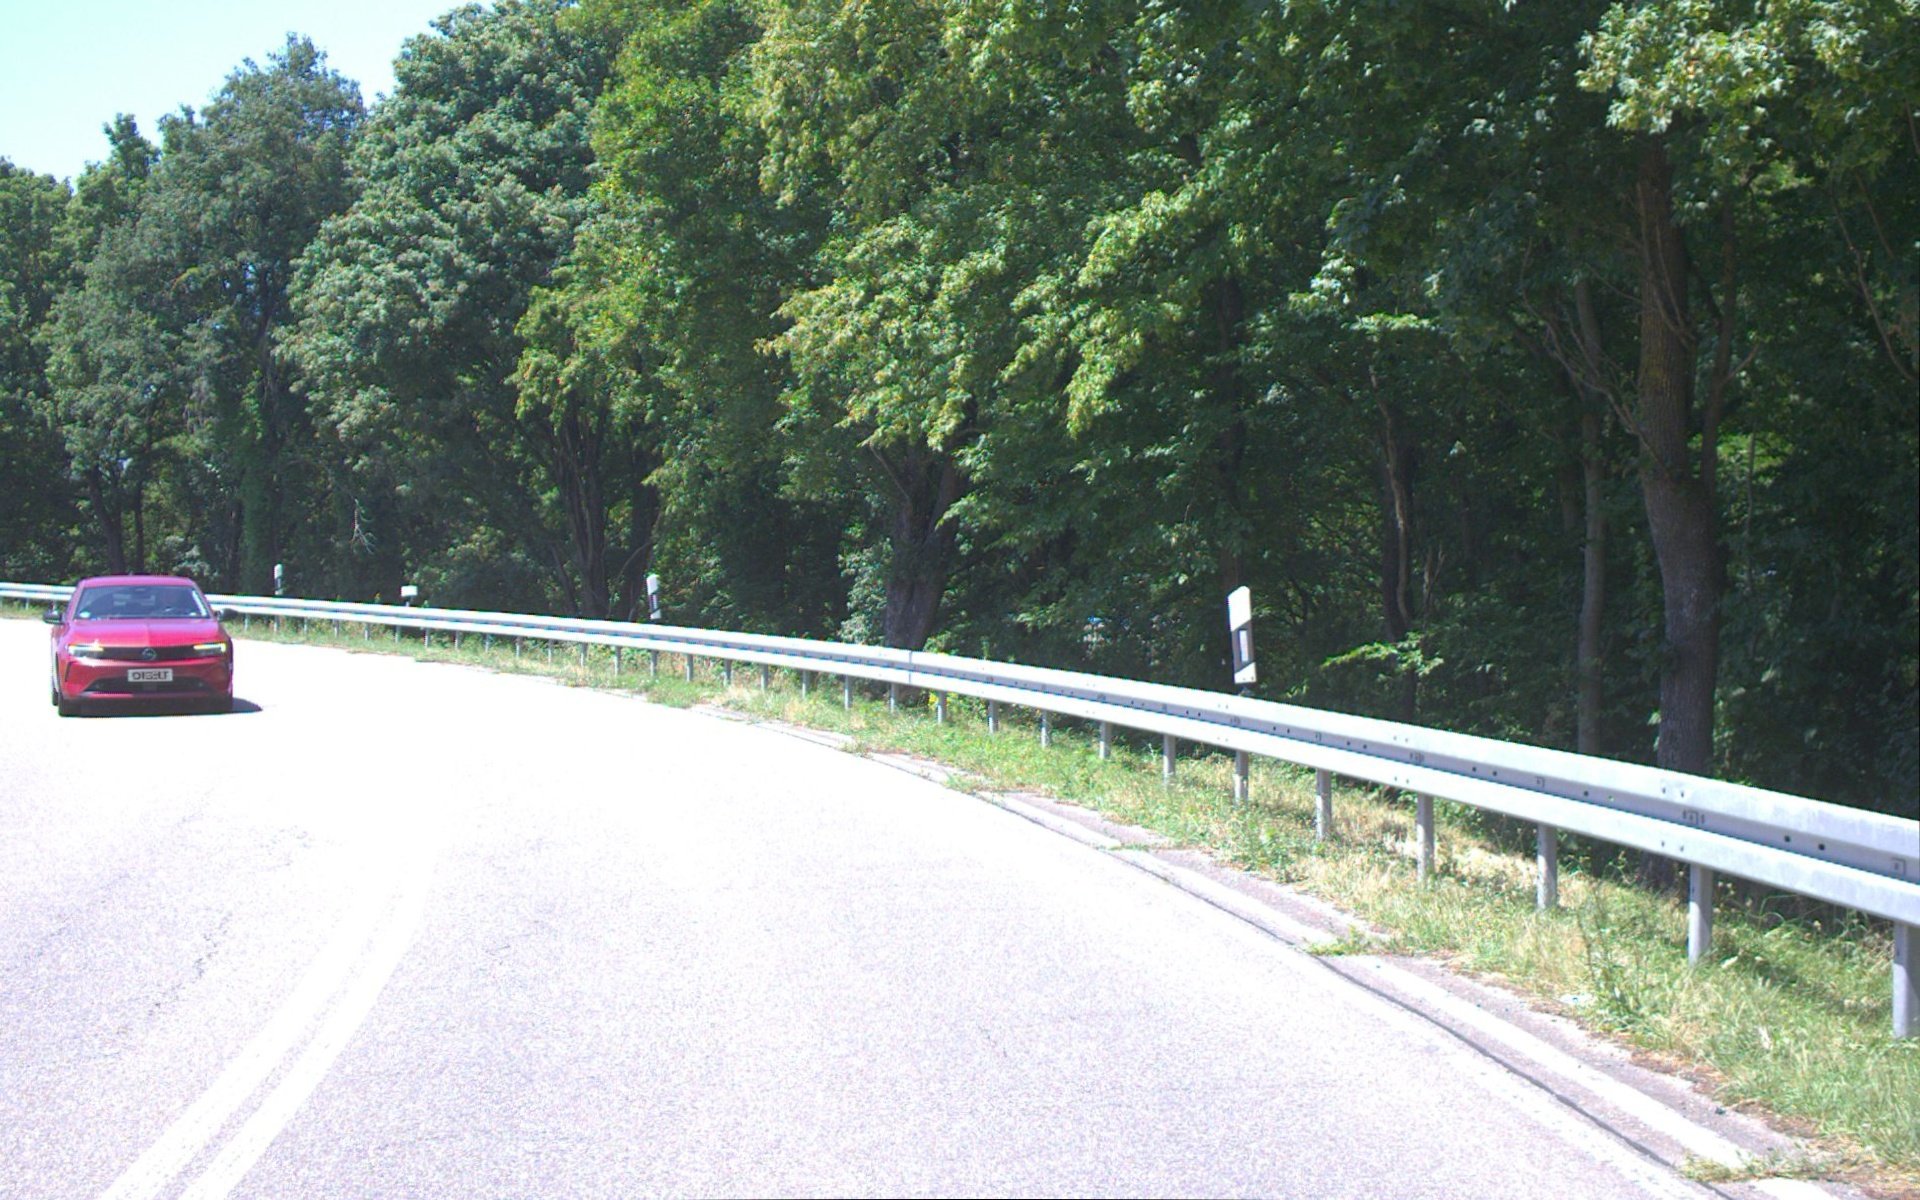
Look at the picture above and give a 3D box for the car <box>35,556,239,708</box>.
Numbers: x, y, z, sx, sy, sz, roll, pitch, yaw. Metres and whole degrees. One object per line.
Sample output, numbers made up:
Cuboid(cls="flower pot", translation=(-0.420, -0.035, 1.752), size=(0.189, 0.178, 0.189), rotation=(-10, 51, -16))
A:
Cuboid(cls="car", translation=(-8.775, 0.370, 36.951), size=(1.822, 1.453, 4.401), rotation=(-3, -1, -10))
